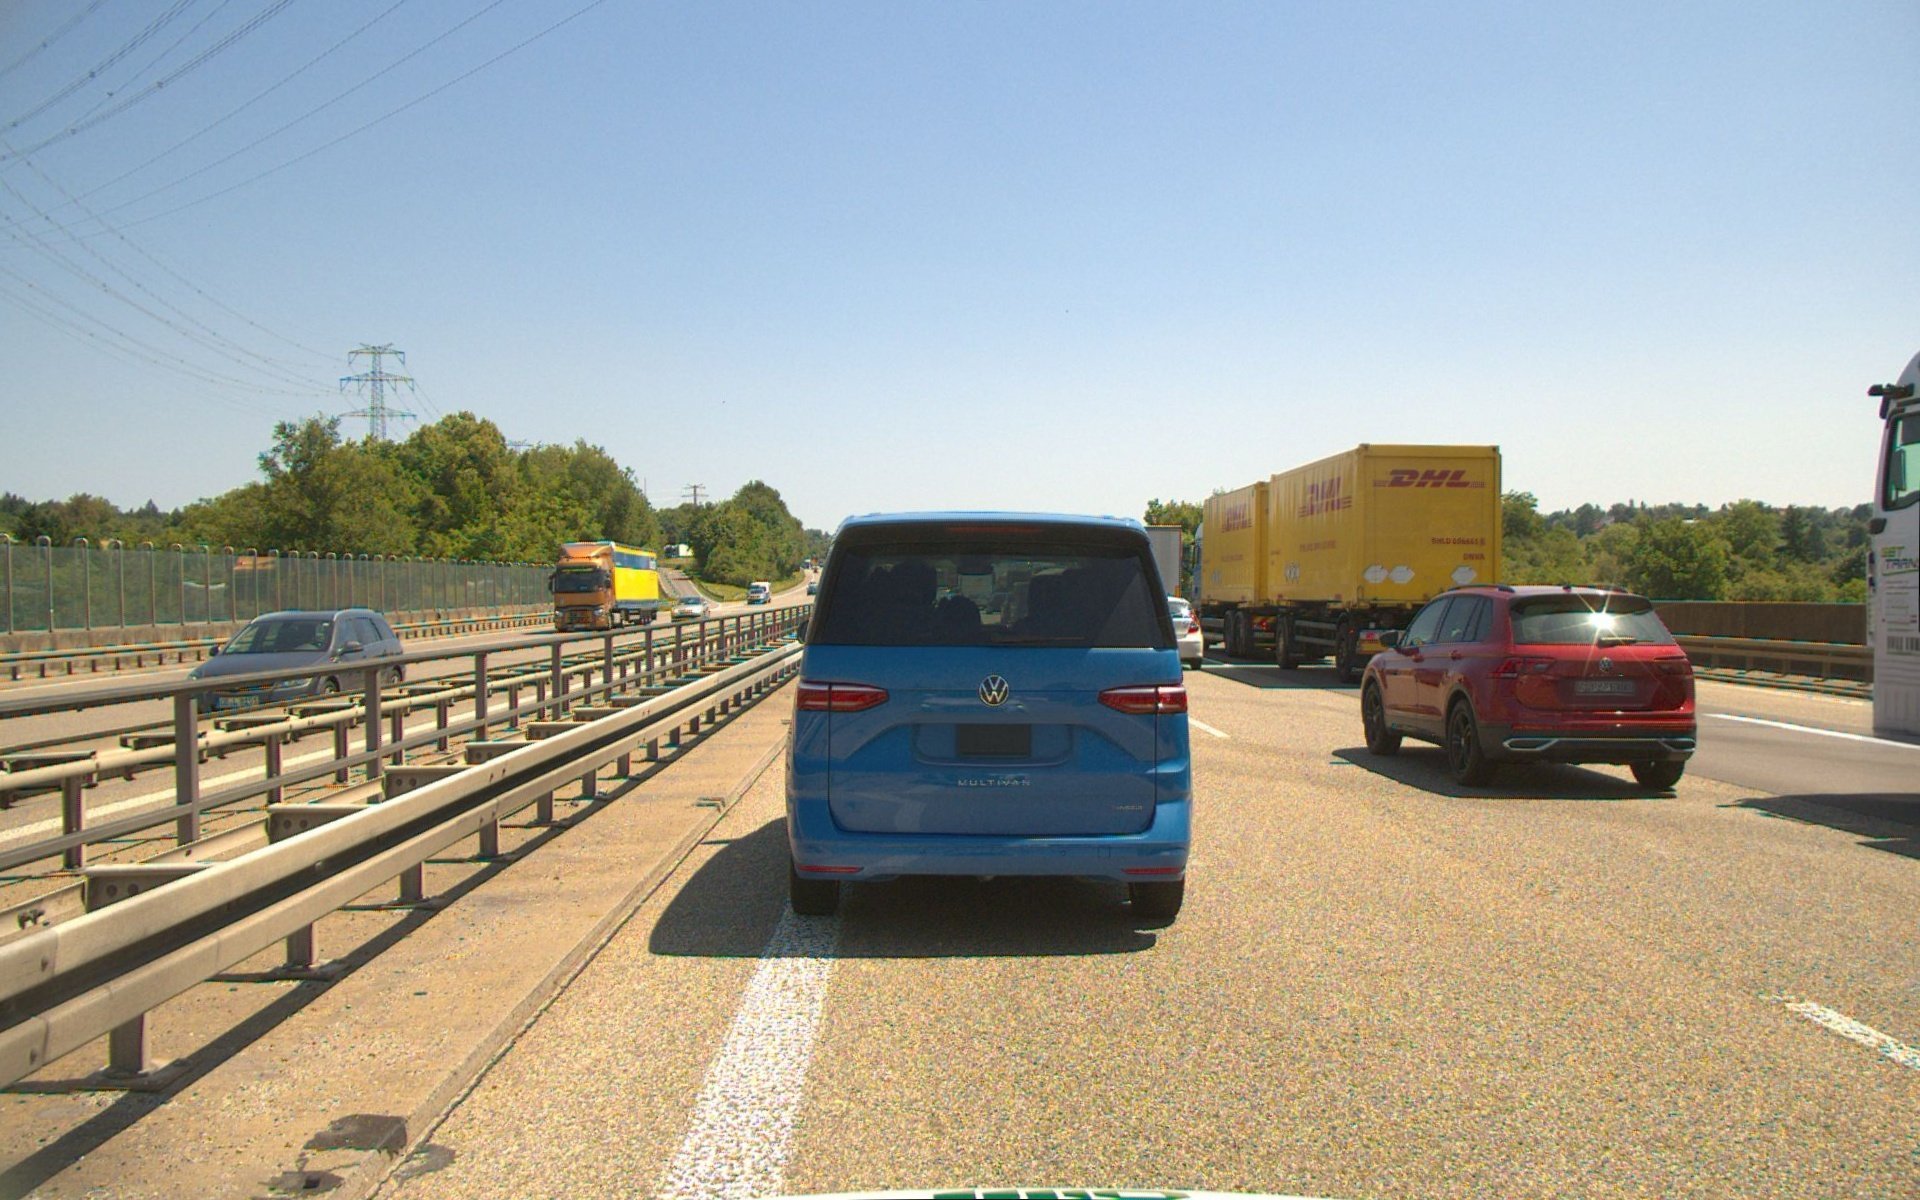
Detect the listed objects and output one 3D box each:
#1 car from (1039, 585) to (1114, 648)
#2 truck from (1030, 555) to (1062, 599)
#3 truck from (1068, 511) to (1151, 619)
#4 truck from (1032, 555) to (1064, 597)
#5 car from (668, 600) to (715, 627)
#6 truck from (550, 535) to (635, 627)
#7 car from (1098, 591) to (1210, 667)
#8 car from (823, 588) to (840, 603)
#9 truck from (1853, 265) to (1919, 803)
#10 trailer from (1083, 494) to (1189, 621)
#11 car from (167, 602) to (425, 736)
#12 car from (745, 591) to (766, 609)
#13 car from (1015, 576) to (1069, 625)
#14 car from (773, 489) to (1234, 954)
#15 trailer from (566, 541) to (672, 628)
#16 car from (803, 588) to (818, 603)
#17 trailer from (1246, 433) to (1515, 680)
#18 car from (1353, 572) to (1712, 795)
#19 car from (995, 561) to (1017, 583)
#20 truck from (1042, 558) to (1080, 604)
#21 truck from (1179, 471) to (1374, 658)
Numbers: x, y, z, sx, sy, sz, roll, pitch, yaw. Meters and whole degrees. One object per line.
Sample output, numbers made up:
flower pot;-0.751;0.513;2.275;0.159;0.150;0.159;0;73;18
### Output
car;3.347;0.468;47.983;1.778;1.708;3.931;1;0;-2
truck;5.340;-1.402;103.182;1.706;2.593;4.209;1;0;-1
truck;6.857;-1.524;76.874;2.965;4.692;7.919;1;0;-1
truck;5.782;-1.538;108.516;1.760;2.641;4.304;1;0;-1
car;-14.238;0.708;87.978;1.654;1.326;4.013;-3;0;2
truck;-17.720;-0.854;80.206;2.617;4.258;6.287;-1;0;1
car;4.093;0.592;35.406;1.778;1.496;3.930;1;0;-2
car;-15.577;-0.545;200.981;1.805;1.782;3.942;1;0;-1
truck;8.667;-0.491;7.905;2.794;4.003;10.606;1;0;-2
trailer;7.004;-1.576;67.476;2.965;4.692;10.922;1;0;-1
car;-8.699;0.834;22.082;1.726;1.534;4.223;-1;0;-1
car;-21.592;0.010;174.671;1.805;1.782;3.942;1;0;-1
car;3.408;0.040;69.309;1.922;1.970;3.931;1;0;-1
car;0.139;0.515;8.873;1.891;1.906;3.999;1;0;-1
trailer;-17.696;-0.739;86.969;2.574;4.186;14.015;0;0;0
car;-21.608;-0.671;239.645;1.805;2.077;3.942;1;0;-1
trailer;7.943;-0.721;32.663;2.629;4.159;8.975;1;0;-3
car;4.892;0.637;14.792;1.674;1.708;4.284;0;0;-1
car;4.423;-2.677;159.435;1.953;2.049;3.999;1;0;-1
truck;5.722;-1.055;94.050;1.761;2.492;4.503;1;0;-1
truck;7.758;-0.782;42.072;2.645;4.159;9.935;1;0;-2
